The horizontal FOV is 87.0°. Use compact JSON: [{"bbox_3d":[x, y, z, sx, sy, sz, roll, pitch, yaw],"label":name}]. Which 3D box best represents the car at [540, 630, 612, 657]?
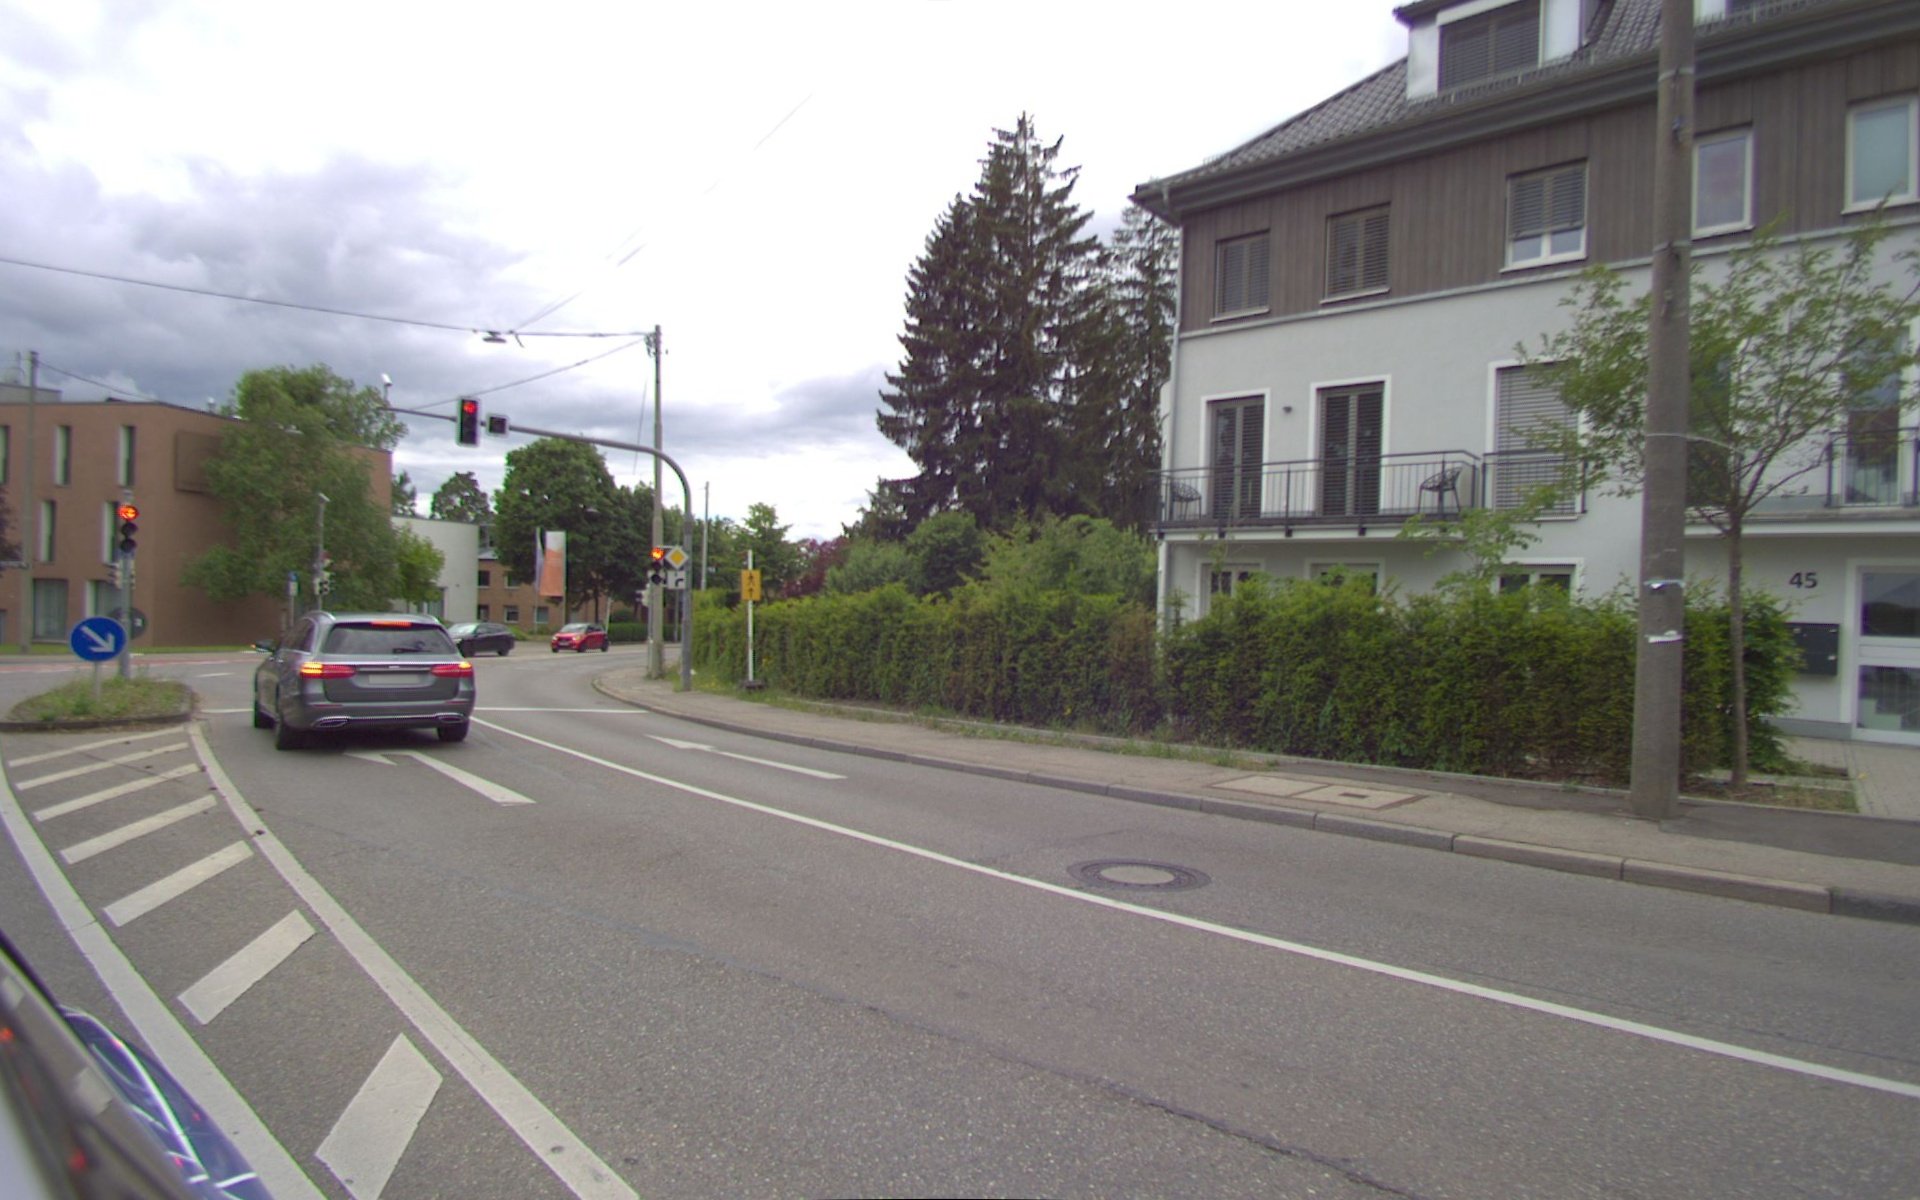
[{"bbox_3d":[-19.709,2.202,52.118,1.974,1.209,3.995,1,-1,4],"label":"car"}]

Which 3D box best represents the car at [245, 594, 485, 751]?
[{"bbox_3d":[-7.257,0.776,12.084,1.802,1.496,4.757,2,-3,-38],"label":"car"}]
